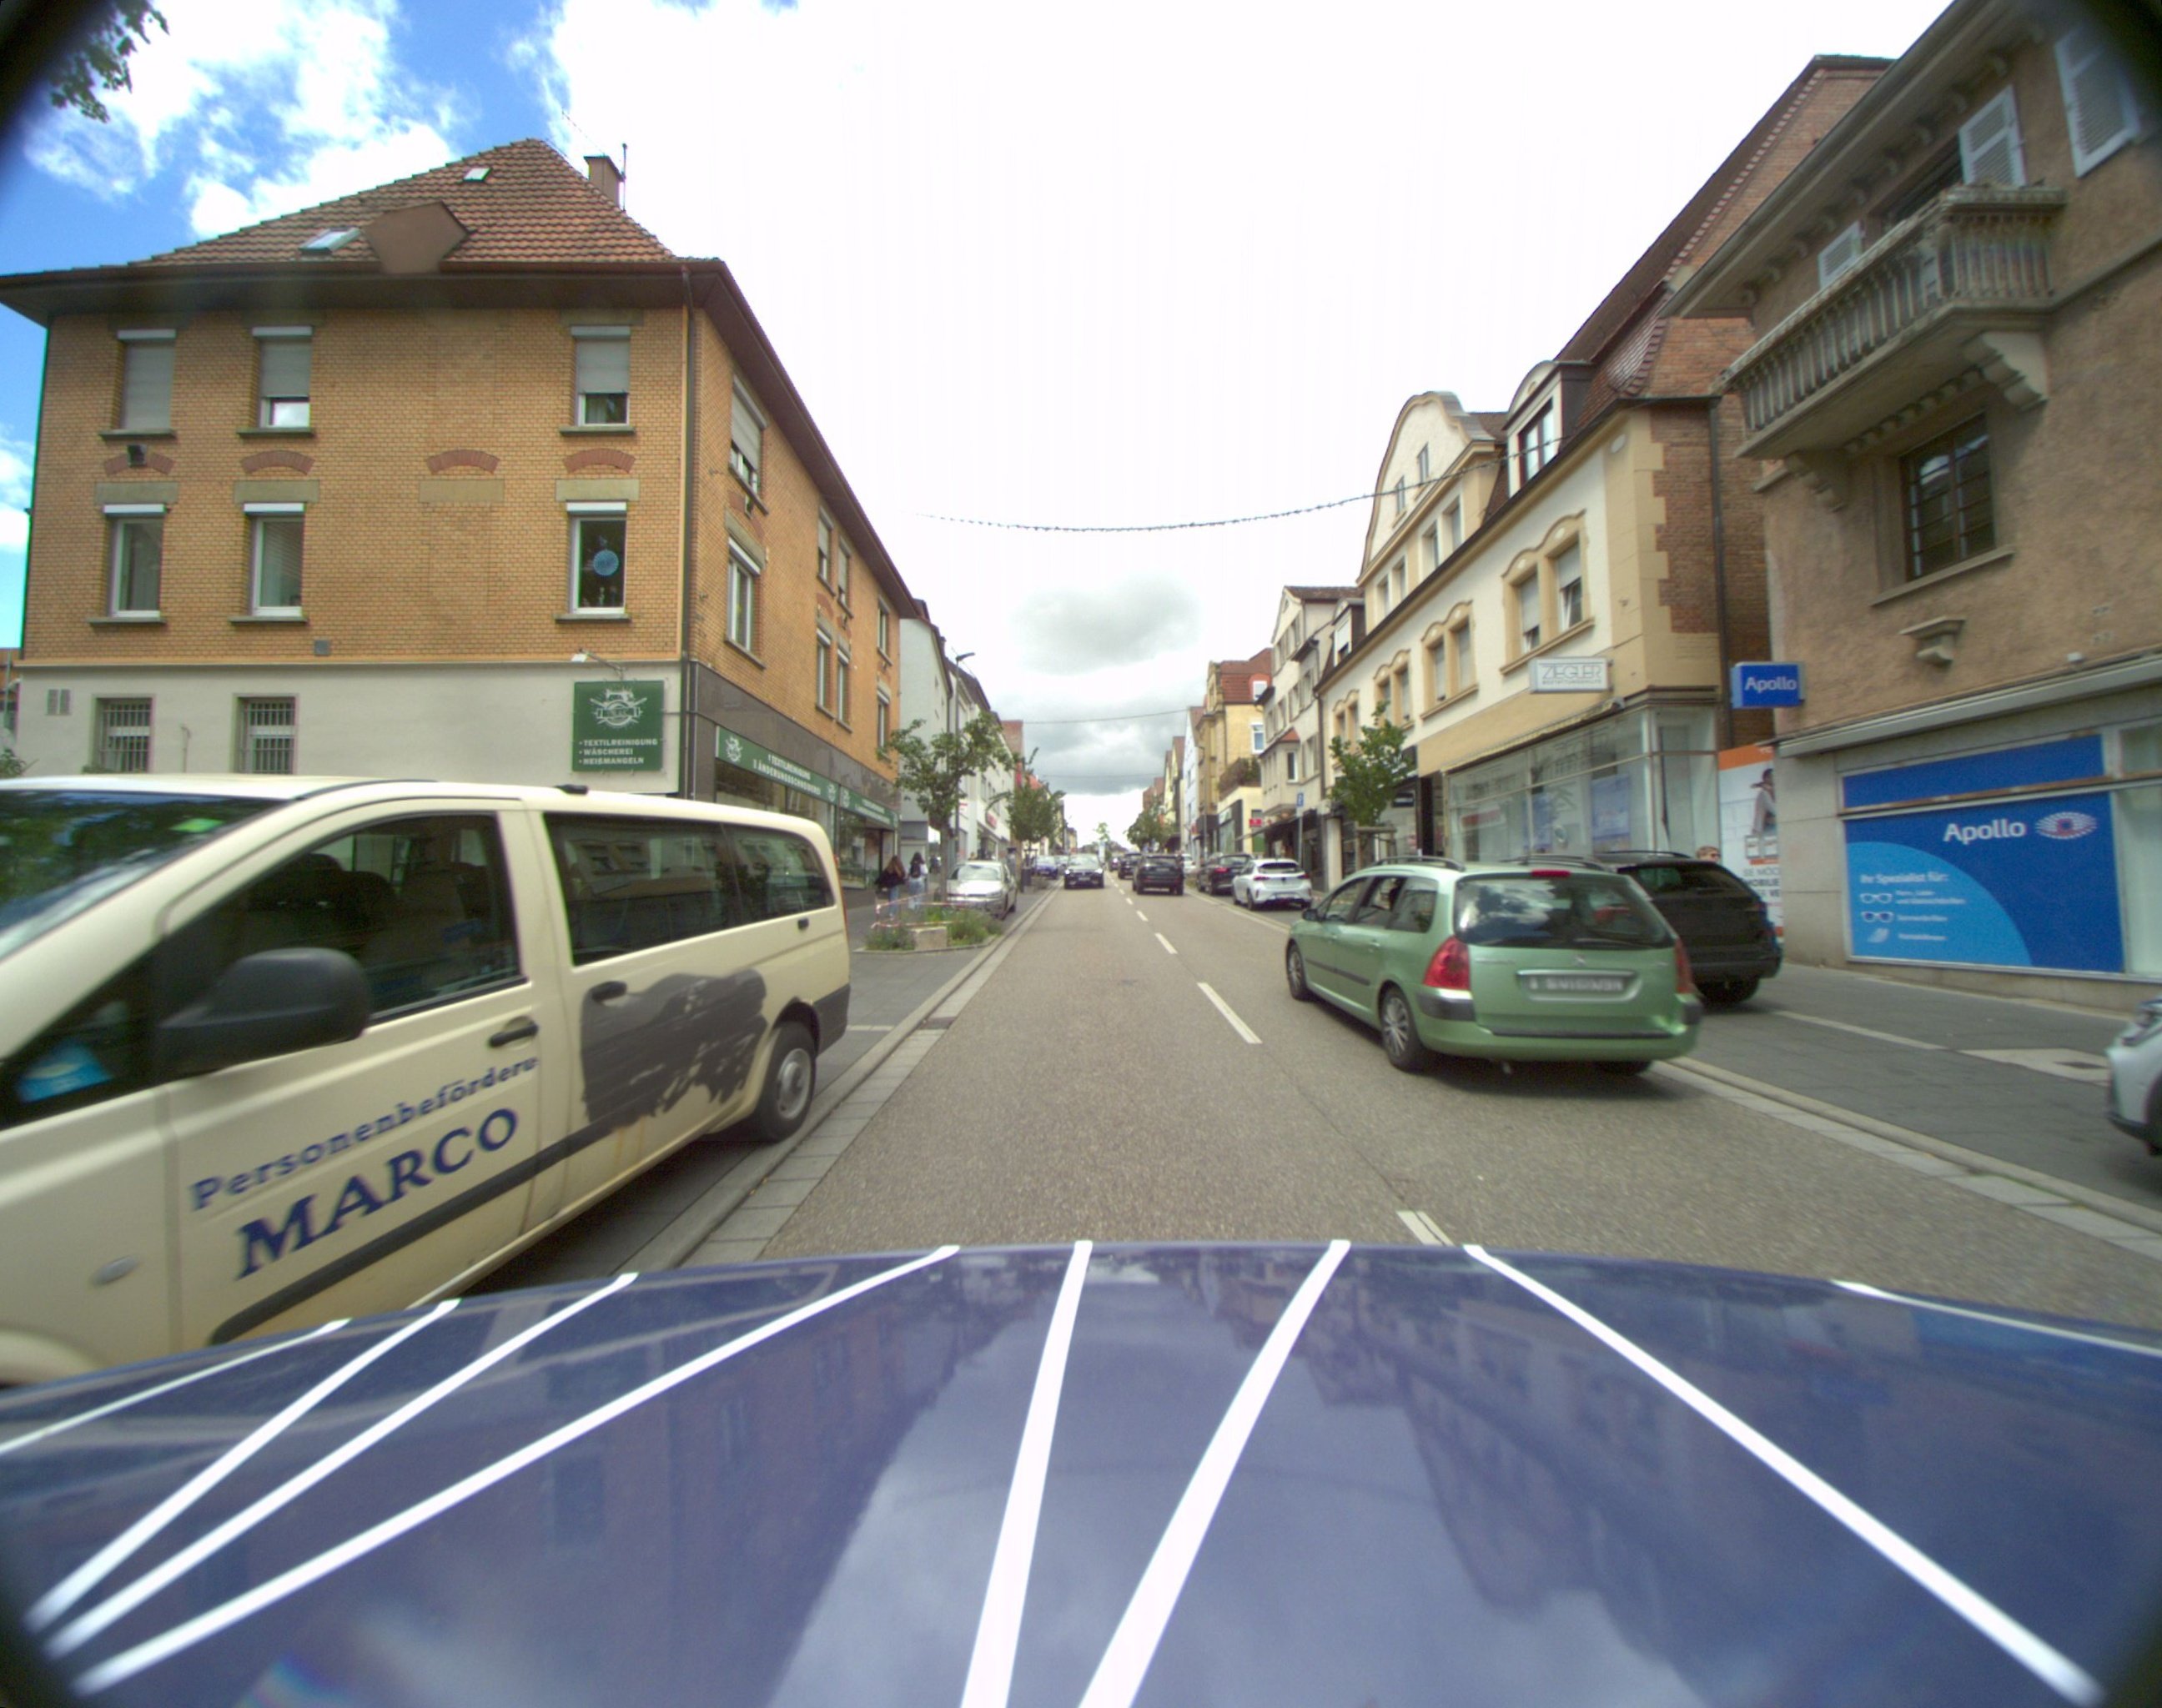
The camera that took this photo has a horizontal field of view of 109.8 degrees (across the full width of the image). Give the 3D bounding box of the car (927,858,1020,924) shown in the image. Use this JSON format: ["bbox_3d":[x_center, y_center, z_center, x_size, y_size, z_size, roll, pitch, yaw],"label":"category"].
[{"bbox_3d":[-2.686,0.886,19.870,1.816,1.439,3.945,2,0,0],"label":"car"}]

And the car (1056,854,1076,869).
[{"bbox_3d":[-1.358,0.668,70.399,1.690,1.365,3.529,0,0,1],"label":"car"}]

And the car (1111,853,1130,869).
[{"bbox_3d":[3.585,0.652,69.272,1.690,1.403,3.529,0,0,1],"label":"car"}]

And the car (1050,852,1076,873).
[{"bbox_3d":[-1.307,0.597,57.253,1.774,1.515,3.529,0,0,1],"label":"car"}]

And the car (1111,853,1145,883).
[{"bbox_3d":[2.819,0.807,46.067,1.894,1.670,3.735,1,1,1],"label":"car"}]

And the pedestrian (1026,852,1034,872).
[{"bbox_3d":[-3.856,0.621,57.067,0.549,1.515,0.412,0,1,1],"label":"pedestrian"}]

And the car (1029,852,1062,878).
[{"bbox_3d":[-2.179,0.643,47.272,1.774,1.515,3.529,0,0,1],"label":"car"}]

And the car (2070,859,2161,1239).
[{"bbox_3d":[5.354,0.804,1.217,1.729,1.564,4.454,-1,0,-1],"label":"car"}]

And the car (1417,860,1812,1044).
[{"bbox_3d":[5.597,0.883,8.696,1.668,1.517,3.963,-2,0,-1],"label":"car"}]

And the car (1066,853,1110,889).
[{"bbox_3d":[0.361,0.756,35.321,1.894,1.515,3.735,-2,0,1],"label":"car"}]

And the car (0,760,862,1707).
[{"bbox_3d":[-2.690,0.749,2.744,1.889,1.836,5.032,0,0,6],"label":"car"}]

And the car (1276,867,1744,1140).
[{"bbox_3d":[3.013,0.903,6.474,1.686,1.492,4.153,0,0,1],"label":"car"}]

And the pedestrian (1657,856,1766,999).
[{"bbox_3d":[7.315,0.824,8.844,0.629,1.564,0.650,-4,0,1],"label":"pedestrian"}]

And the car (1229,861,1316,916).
[{"bbox_3d":[5.524,0.945,22.320,1.732,1.423,3.503,-1,0,1],"label":"car"}]

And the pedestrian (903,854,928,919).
[{"bbox_3d":[-4.152,0.803,19.062,0.567,1.594,0.525,1,1,-13],"label":"pedestrian"}]

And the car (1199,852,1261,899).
[{"bbox_3d":[5.733,0.789,29.664,1.732,1.670,3.992,-1,0,1],"label":"car"}]

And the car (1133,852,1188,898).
[{"bbox_3d":[3.110,0.785,30.494,1.830,1.679,3.859,0,0,0],"label":"car"}]

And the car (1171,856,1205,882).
[{"bbox_3d":[6.575,0.904,46.881,1.690,1.515,3.529,0,0,1],"label":"car"}]

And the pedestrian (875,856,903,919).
[{"bbox_3d":[-4.749,0.827,18.821,0.556,1.512,0.592,2,1,-5],"label":"pedestrian"}]

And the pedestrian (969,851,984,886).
[{"bbox_3d":[-4.574,0.629,33.226,0.567,1.531,0.525,2,1,-6],"label":"pedestrian"}]
